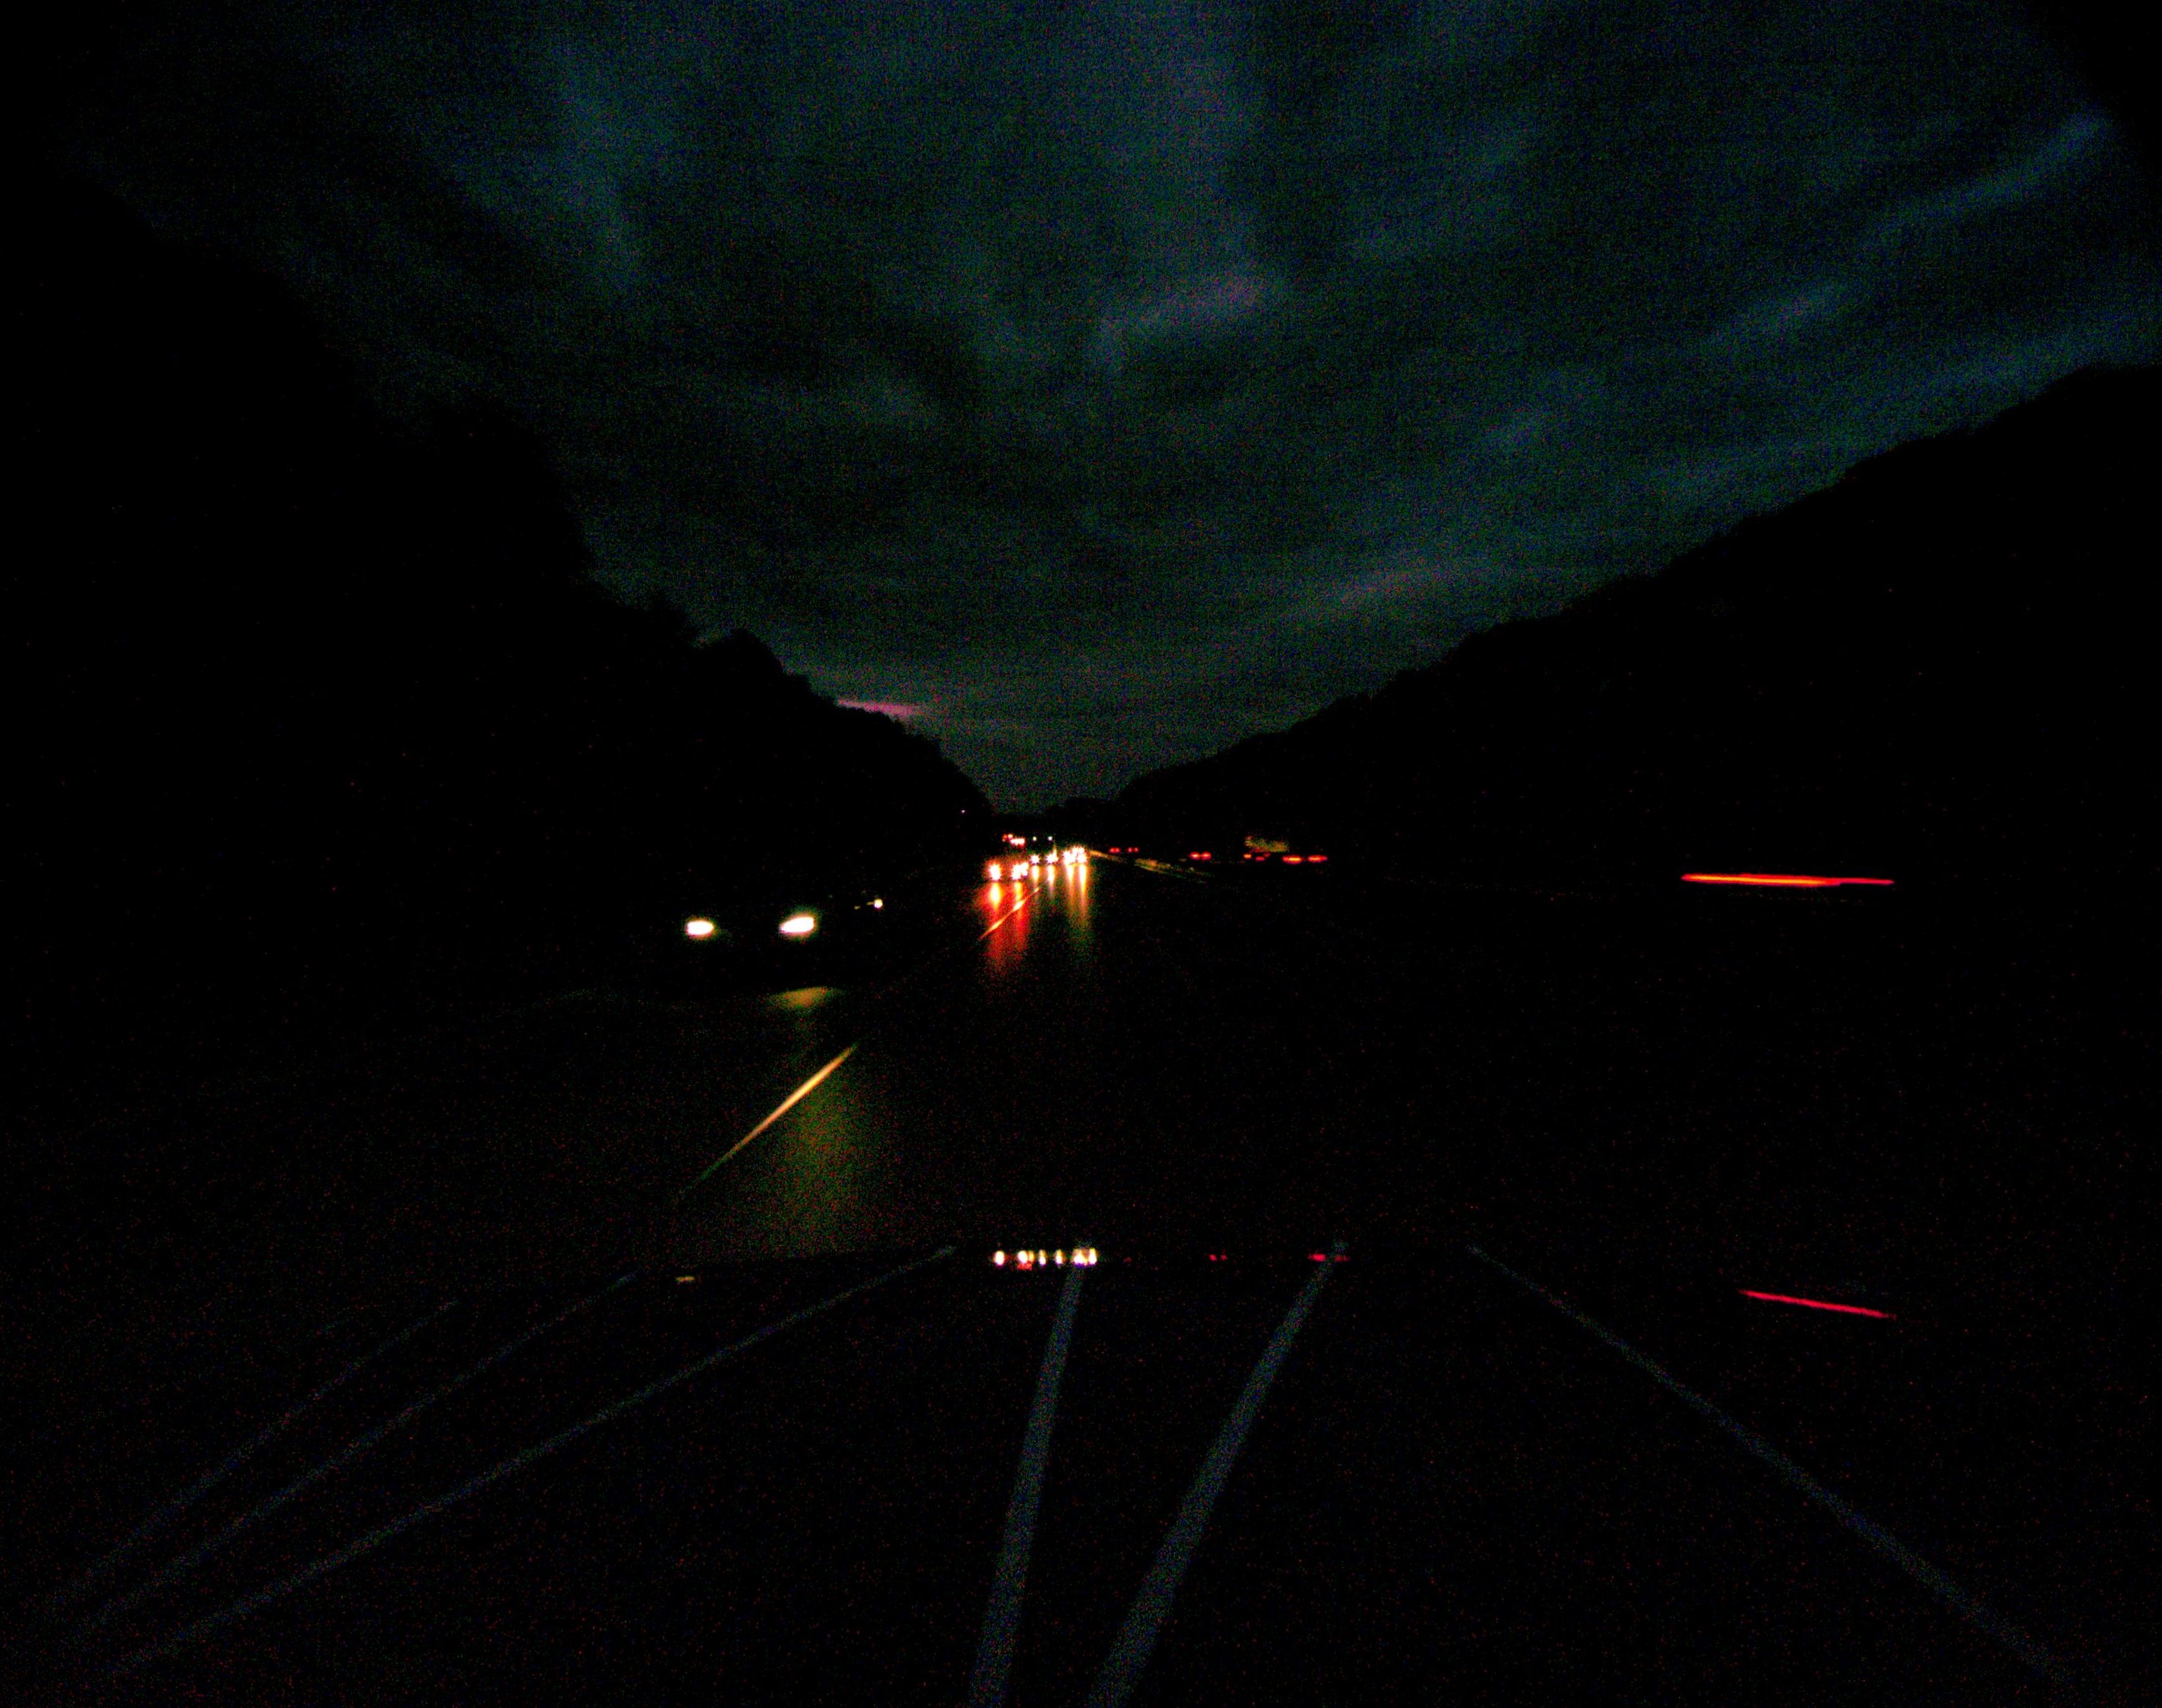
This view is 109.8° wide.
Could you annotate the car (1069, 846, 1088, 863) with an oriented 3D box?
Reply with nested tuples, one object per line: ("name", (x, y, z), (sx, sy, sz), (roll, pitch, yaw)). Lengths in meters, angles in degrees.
("car", (-0.285, 0.036, 89.592), (1.869, 1.701, 4.584), (-2, 1, 4))

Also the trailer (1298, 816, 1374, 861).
("trailer", (25.521, -1.615, 77.080), (3.199, 4.082, 14.180), (-2, 1, 1))

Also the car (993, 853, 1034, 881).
("car", (-3.938, 0.723, 44.968), (1.695, 1.481, 4.949), (-3, 0, 3))

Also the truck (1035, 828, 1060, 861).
("truck", (-4.130, -1.240, 94.141), (2.497, 3.946, 5.589), (-2, 2, 3))

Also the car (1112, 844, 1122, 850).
("car", (8.414, -1.629, 178.862), (1.855, 1.373, 4.643), (-1, 0, -2))

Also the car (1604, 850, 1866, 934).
("car", (14.305, 0.728, 17.089), (1.885, 1.566, 4.653), (-1, 1, 0))

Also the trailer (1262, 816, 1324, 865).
("trailer", (18.220, -1.151, 66.090), (2.653, 3.908, 10.184), (-1, 1, 1))

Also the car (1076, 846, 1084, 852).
("car", (-0.200, -1.208, 192.119), (1.696, 1.481, 4.946), (-1, 2, -3))

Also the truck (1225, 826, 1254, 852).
("truck", (25.752, -2.443, 123.750), (3.199, 4.082, 7.687), (-2, 2, 1))

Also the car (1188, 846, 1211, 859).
("car", (14.039, -0.148, 90.059), (1.915, 1.443, 5.353), (-1, 1, 1))

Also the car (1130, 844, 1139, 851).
("car", (12.383, -1.524, 175.848), (1.690, 1.506, 4.413), (-1, 1, 0))

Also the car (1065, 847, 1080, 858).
("car", (-1.516, -0.320, 134.856), (1.924, 1.706, 4.938), (-3, 2, -7))

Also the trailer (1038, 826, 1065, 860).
("trailer", (-3.862, -1.599, 101.725), (2.489, 4.051, 13.500), (-2, 2, 2))

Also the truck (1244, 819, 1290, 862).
("truck", (18.196, -1.288, 74.761), (2.654, 3.949, 7.119), (-1, 1, -1))

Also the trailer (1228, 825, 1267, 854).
("trailer", (25.559, -2.298, 117.410), (3.199, 4.082, 13.736), (-2, 1, 1))

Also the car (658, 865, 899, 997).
("car", (-4.364, 1.001, 11.887), (1.870, 1.427, 4.582), (-2, 1, 0))
